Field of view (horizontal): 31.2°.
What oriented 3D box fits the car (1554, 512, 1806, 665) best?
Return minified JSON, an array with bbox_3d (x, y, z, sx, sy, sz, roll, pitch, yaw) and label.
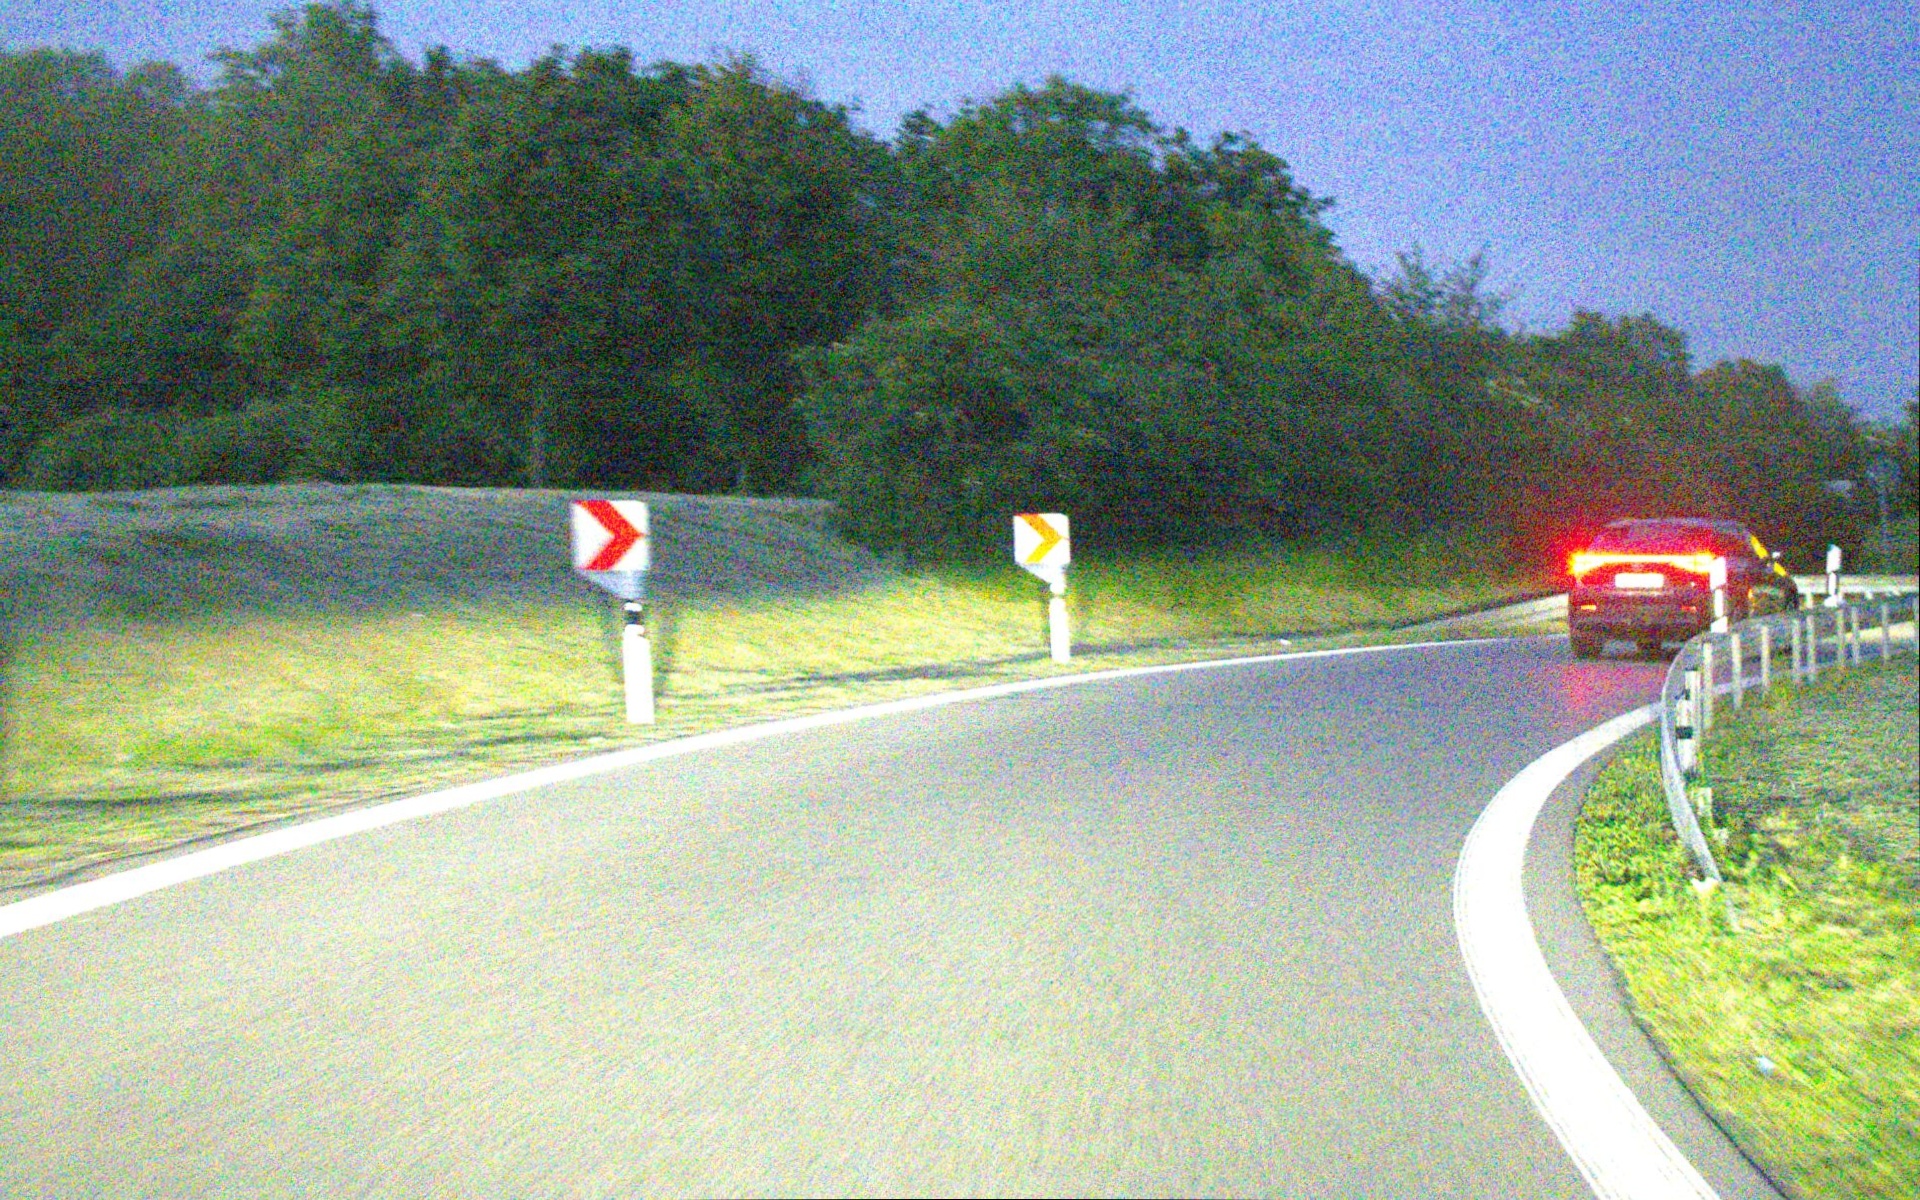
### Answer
[{"bbox_3d":[8.351,-0.187,39.596,1.996,1.653,4.309,1,2,24],"label":"car"}]
